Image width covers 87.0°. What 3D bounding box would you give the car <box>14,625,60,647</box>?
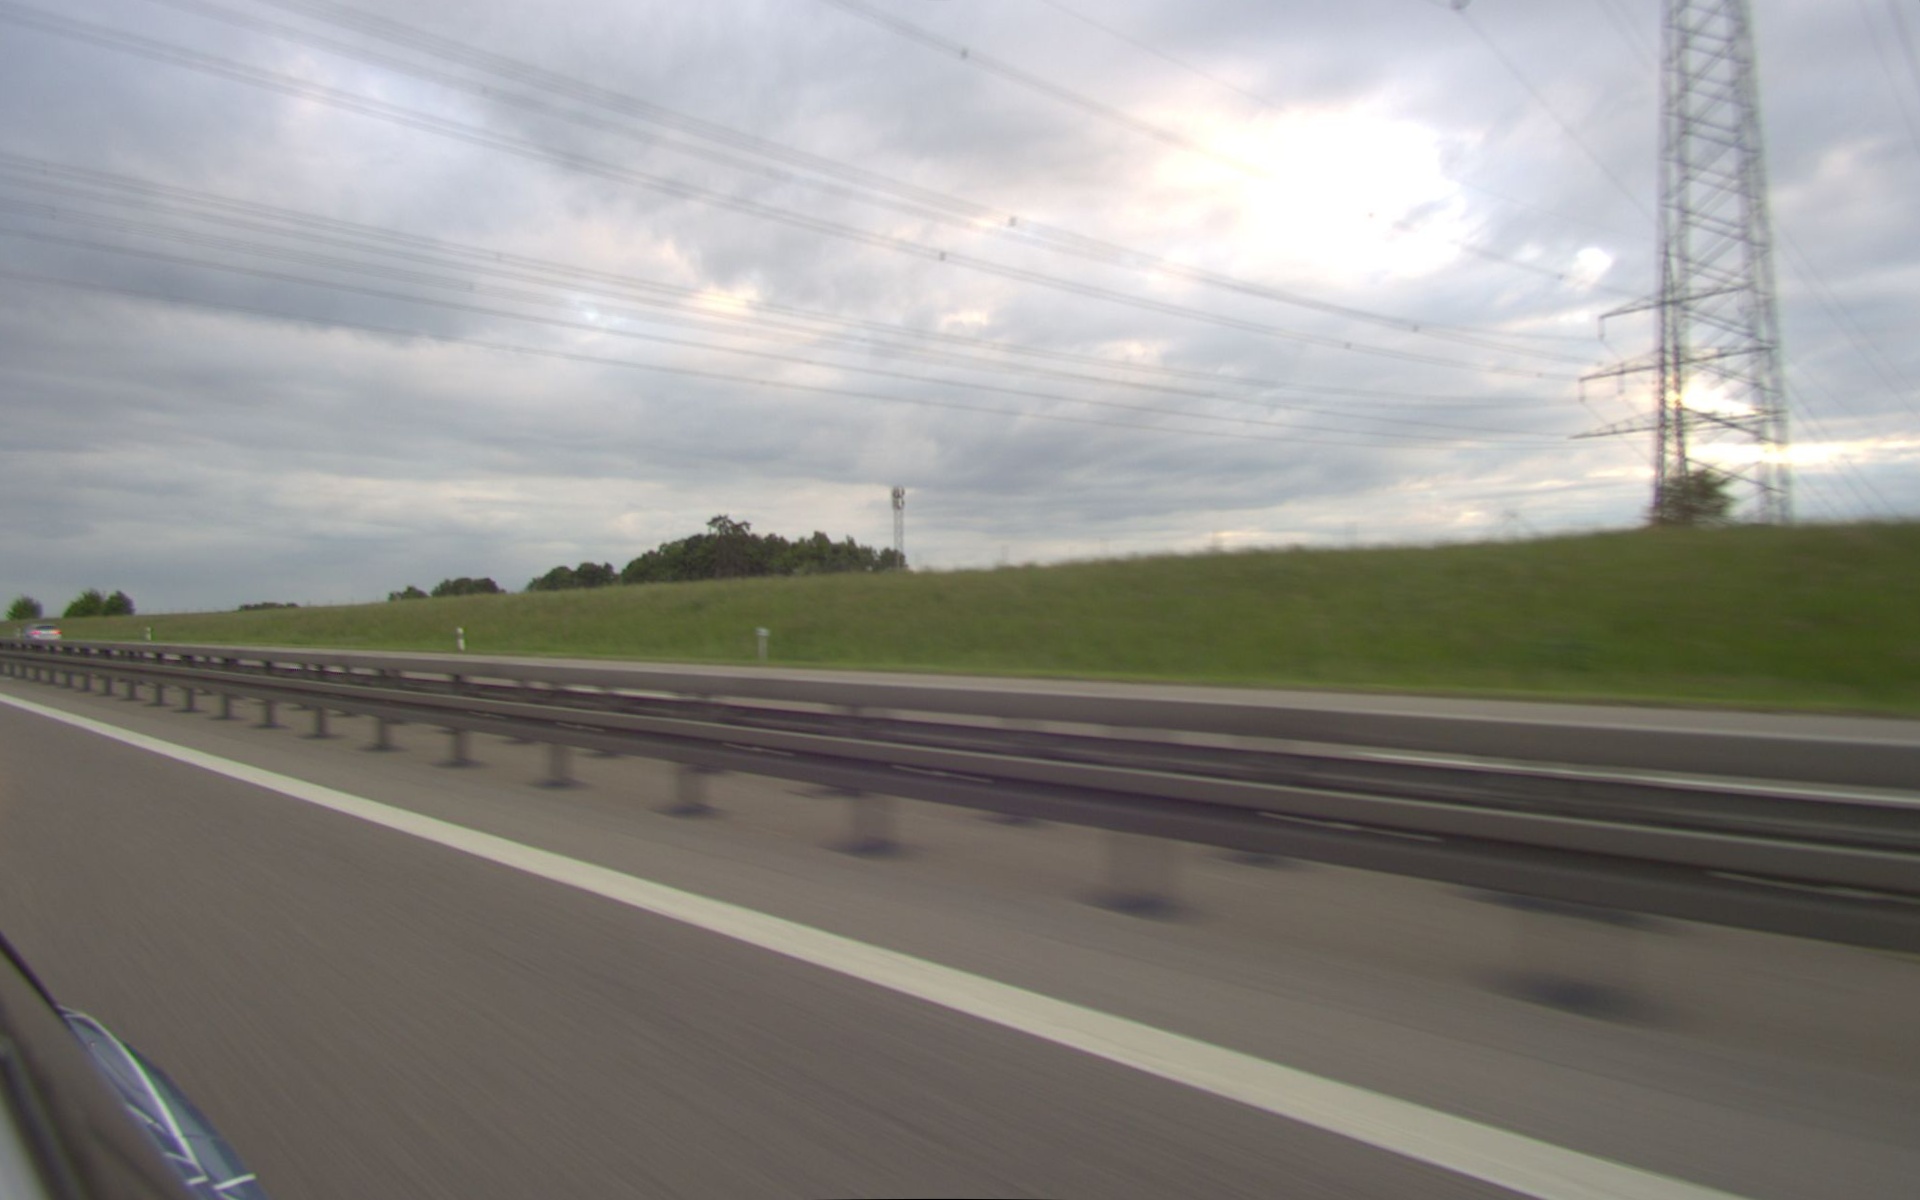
[{"bbox_3d":[-66.795,2.587,73.201,5.330,1.493,1.747,-2,0,40],"label":"car"}]
